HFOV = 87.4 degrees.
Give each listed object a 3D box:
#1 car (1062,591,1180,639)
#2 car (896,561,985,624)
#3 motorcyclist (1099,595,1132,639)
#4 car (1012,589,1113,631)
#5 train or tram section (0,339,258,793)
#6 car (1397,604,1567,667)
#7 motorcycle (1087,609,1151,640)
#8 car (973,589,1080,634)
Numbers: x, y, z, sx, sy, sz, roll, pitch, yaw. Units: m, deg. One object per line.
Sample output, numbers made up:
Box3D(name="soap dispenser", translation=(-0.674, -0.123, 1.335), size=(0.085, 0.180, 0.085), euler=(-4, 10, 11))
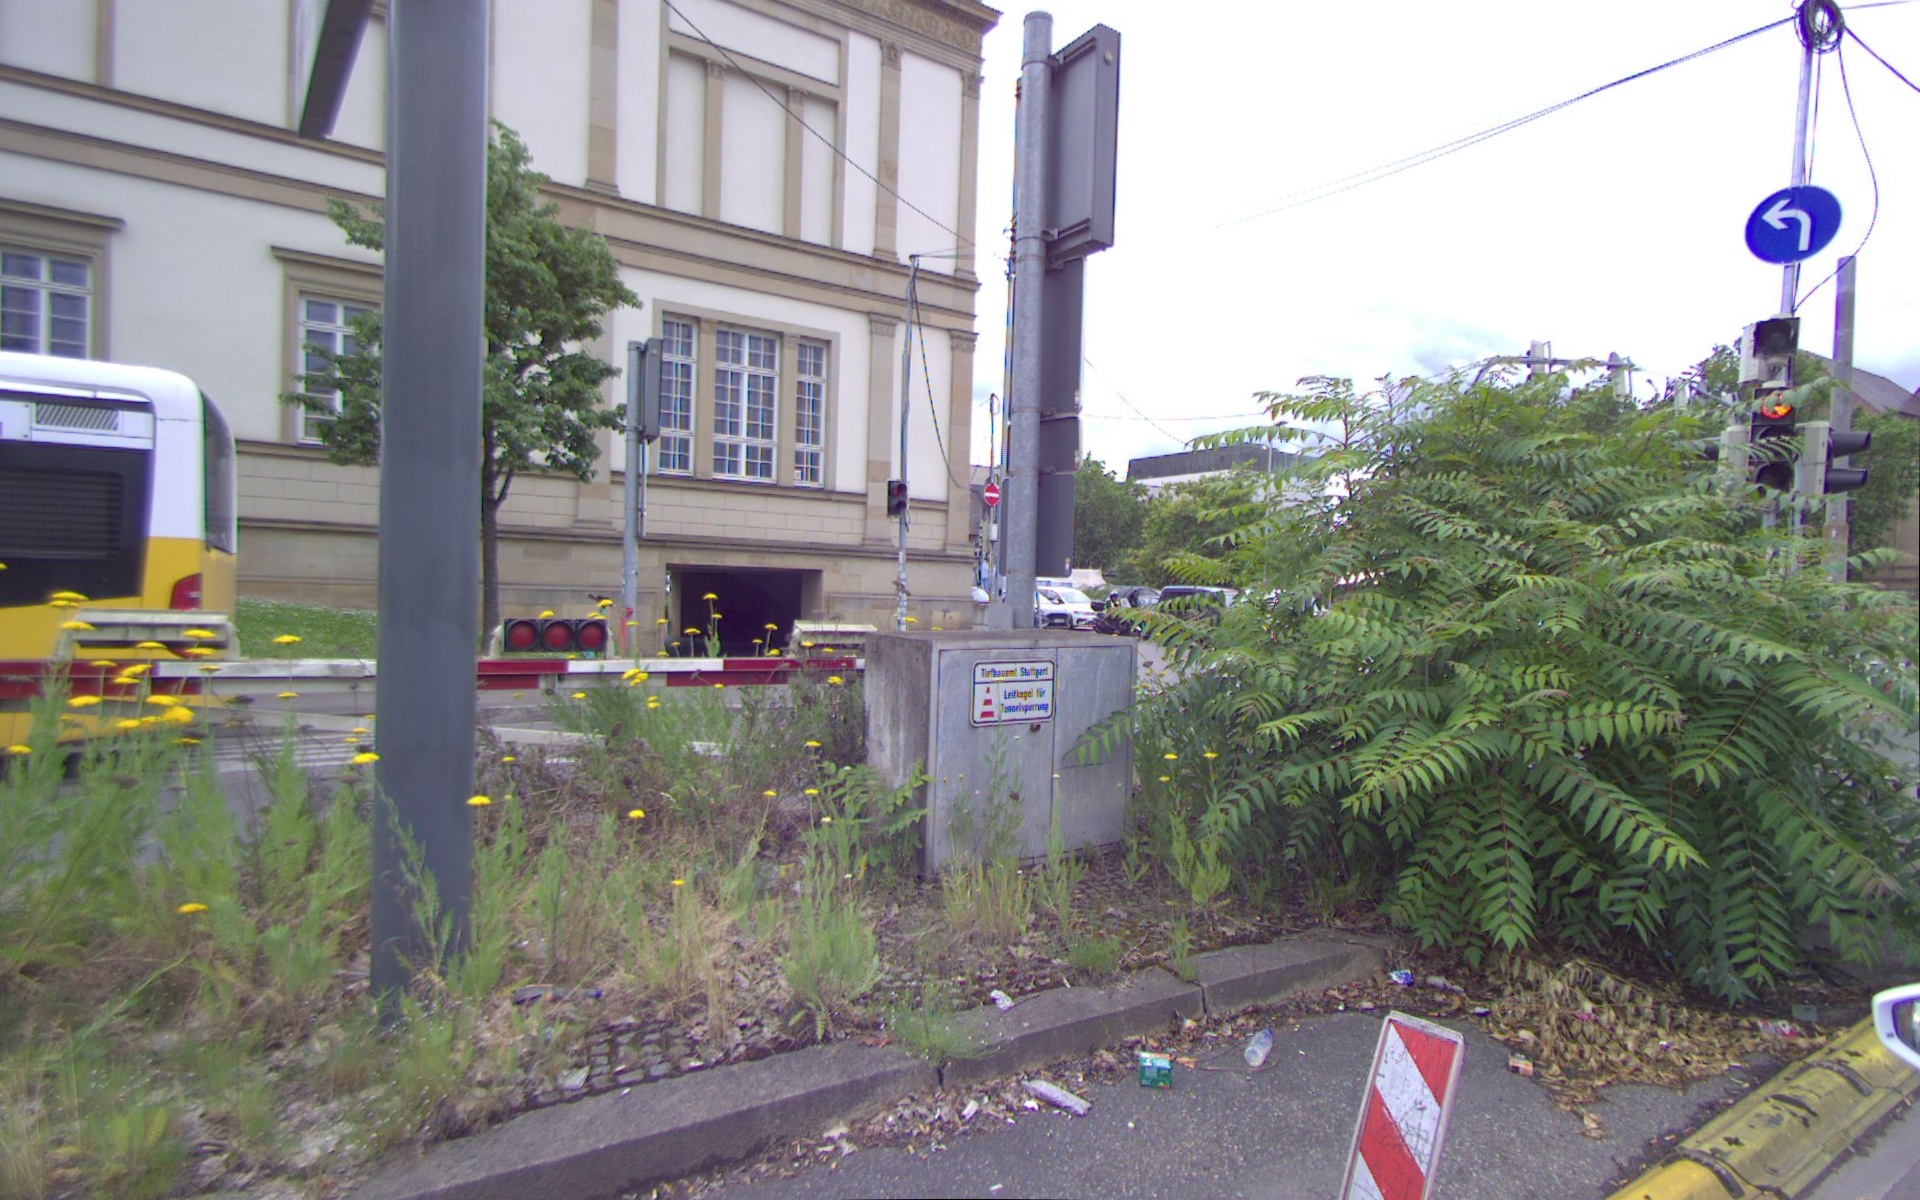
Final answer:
Box3D(name="car", translation=(5.692, 0.498, 35.928), size=(1.978, 1.568, 4.084), euler=(2, 0, -32))
Box3D(name="car", translation=(-0.890, -0.326, 43.698), size=(1.978, 2.585, 4.083), euler=(2, 0, -32))
Box3D(name="motorcyclist", translation=(5.053, 0.565, 32.663), size=(0.690, 1.398, 0.784), euler=(2, -1, -33))
Box3D(name="car", translation=(4.095, 0.374, 40.748), size=(1.977, 1.568, 4.085), euler=(2, 0, -31))
Box3D(name="train or tram section", translation=(-10.167, -0.278, 6.271), size=(9.229, 3.112, 2.680), euler=(1, -1, -31))
Box3D(name="car", translation=(16.476, 1.059, 31.798), size=(4.437, 1.783, 1.991), euler=(1, 0, 40))
Box3D(name="motorcycle", translation=(5.129, 0.790, 32.552), size=(0.690, 0.953, 2.335), euler=(2, -1, -32))
Box3D(name="car", translation=(2.439, 0.410, 37.676), size=(1.978, 1.568, 4.083), euler=(2, 0, -32))
